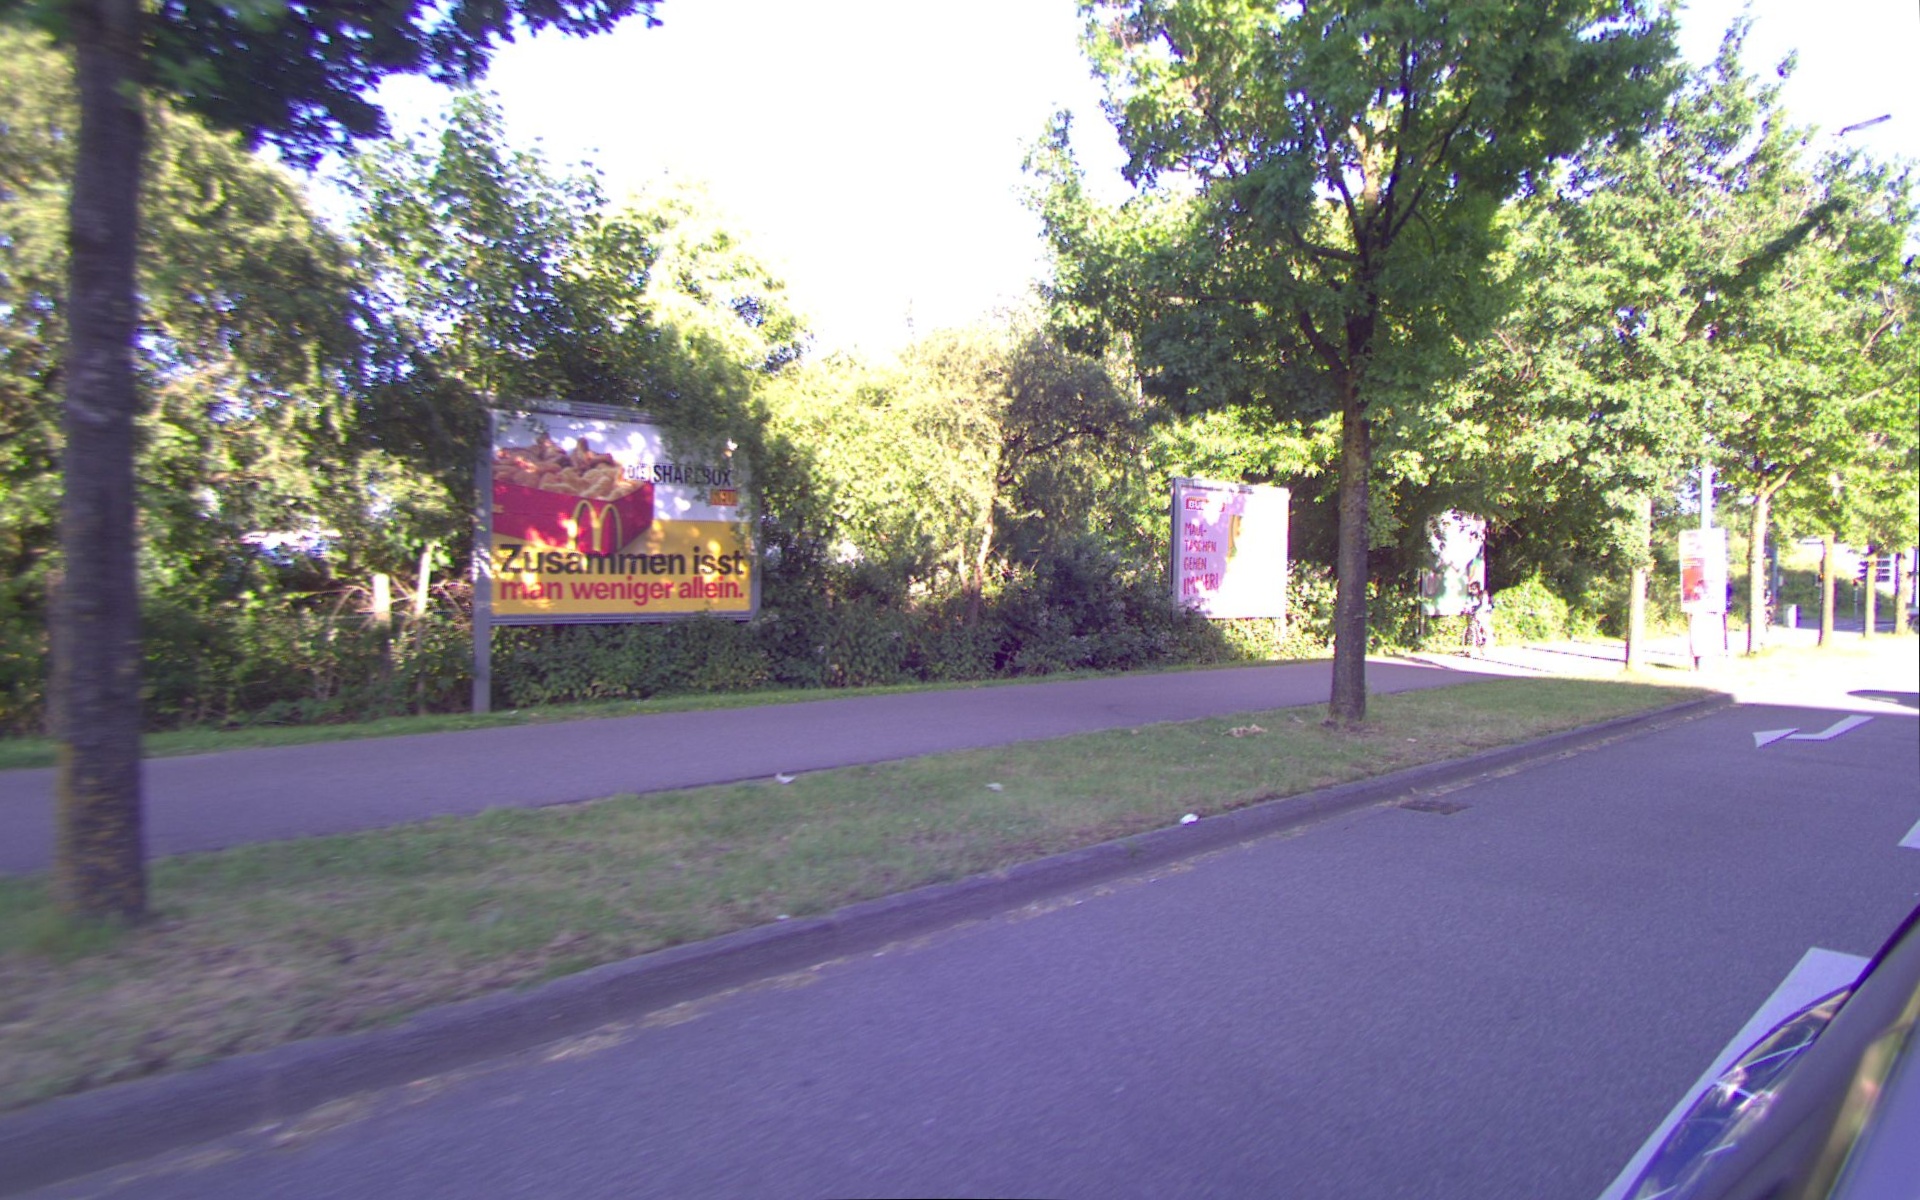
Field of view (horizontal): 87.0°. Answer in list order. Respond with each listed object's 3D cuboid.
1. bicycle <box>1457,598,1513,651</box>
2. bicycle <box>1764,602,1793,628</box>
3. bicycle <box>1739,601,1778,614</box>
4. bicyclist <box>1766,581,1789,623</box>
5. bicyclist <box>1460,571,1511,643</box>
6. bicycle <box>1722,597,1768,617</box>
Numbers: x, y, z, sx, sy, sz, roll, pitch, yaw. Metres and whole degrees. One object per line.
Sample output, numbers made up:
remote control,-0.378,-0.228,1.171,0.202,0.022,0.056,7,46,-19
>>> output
bicycle,11.542,0.522,22.213,1.905,1.086,0.516,0,2,-45
bicycle,32.776,0.585,40.531,2.011,1.004,0.572,1,1,-42
bicycle,43.912,0.409,55.701,0.830,0.629,2.187,3,2,14
bicyclist,32.659,0.069,40.426,0.850,1.630,0.566,0,1,-42
bicyclist,11.511,0.137,22.176,1.019,1.541,0.685,0,1,-45
bicycle,44.632,0.388,57.559,0.445,1.066,1.999,0,1,-29
